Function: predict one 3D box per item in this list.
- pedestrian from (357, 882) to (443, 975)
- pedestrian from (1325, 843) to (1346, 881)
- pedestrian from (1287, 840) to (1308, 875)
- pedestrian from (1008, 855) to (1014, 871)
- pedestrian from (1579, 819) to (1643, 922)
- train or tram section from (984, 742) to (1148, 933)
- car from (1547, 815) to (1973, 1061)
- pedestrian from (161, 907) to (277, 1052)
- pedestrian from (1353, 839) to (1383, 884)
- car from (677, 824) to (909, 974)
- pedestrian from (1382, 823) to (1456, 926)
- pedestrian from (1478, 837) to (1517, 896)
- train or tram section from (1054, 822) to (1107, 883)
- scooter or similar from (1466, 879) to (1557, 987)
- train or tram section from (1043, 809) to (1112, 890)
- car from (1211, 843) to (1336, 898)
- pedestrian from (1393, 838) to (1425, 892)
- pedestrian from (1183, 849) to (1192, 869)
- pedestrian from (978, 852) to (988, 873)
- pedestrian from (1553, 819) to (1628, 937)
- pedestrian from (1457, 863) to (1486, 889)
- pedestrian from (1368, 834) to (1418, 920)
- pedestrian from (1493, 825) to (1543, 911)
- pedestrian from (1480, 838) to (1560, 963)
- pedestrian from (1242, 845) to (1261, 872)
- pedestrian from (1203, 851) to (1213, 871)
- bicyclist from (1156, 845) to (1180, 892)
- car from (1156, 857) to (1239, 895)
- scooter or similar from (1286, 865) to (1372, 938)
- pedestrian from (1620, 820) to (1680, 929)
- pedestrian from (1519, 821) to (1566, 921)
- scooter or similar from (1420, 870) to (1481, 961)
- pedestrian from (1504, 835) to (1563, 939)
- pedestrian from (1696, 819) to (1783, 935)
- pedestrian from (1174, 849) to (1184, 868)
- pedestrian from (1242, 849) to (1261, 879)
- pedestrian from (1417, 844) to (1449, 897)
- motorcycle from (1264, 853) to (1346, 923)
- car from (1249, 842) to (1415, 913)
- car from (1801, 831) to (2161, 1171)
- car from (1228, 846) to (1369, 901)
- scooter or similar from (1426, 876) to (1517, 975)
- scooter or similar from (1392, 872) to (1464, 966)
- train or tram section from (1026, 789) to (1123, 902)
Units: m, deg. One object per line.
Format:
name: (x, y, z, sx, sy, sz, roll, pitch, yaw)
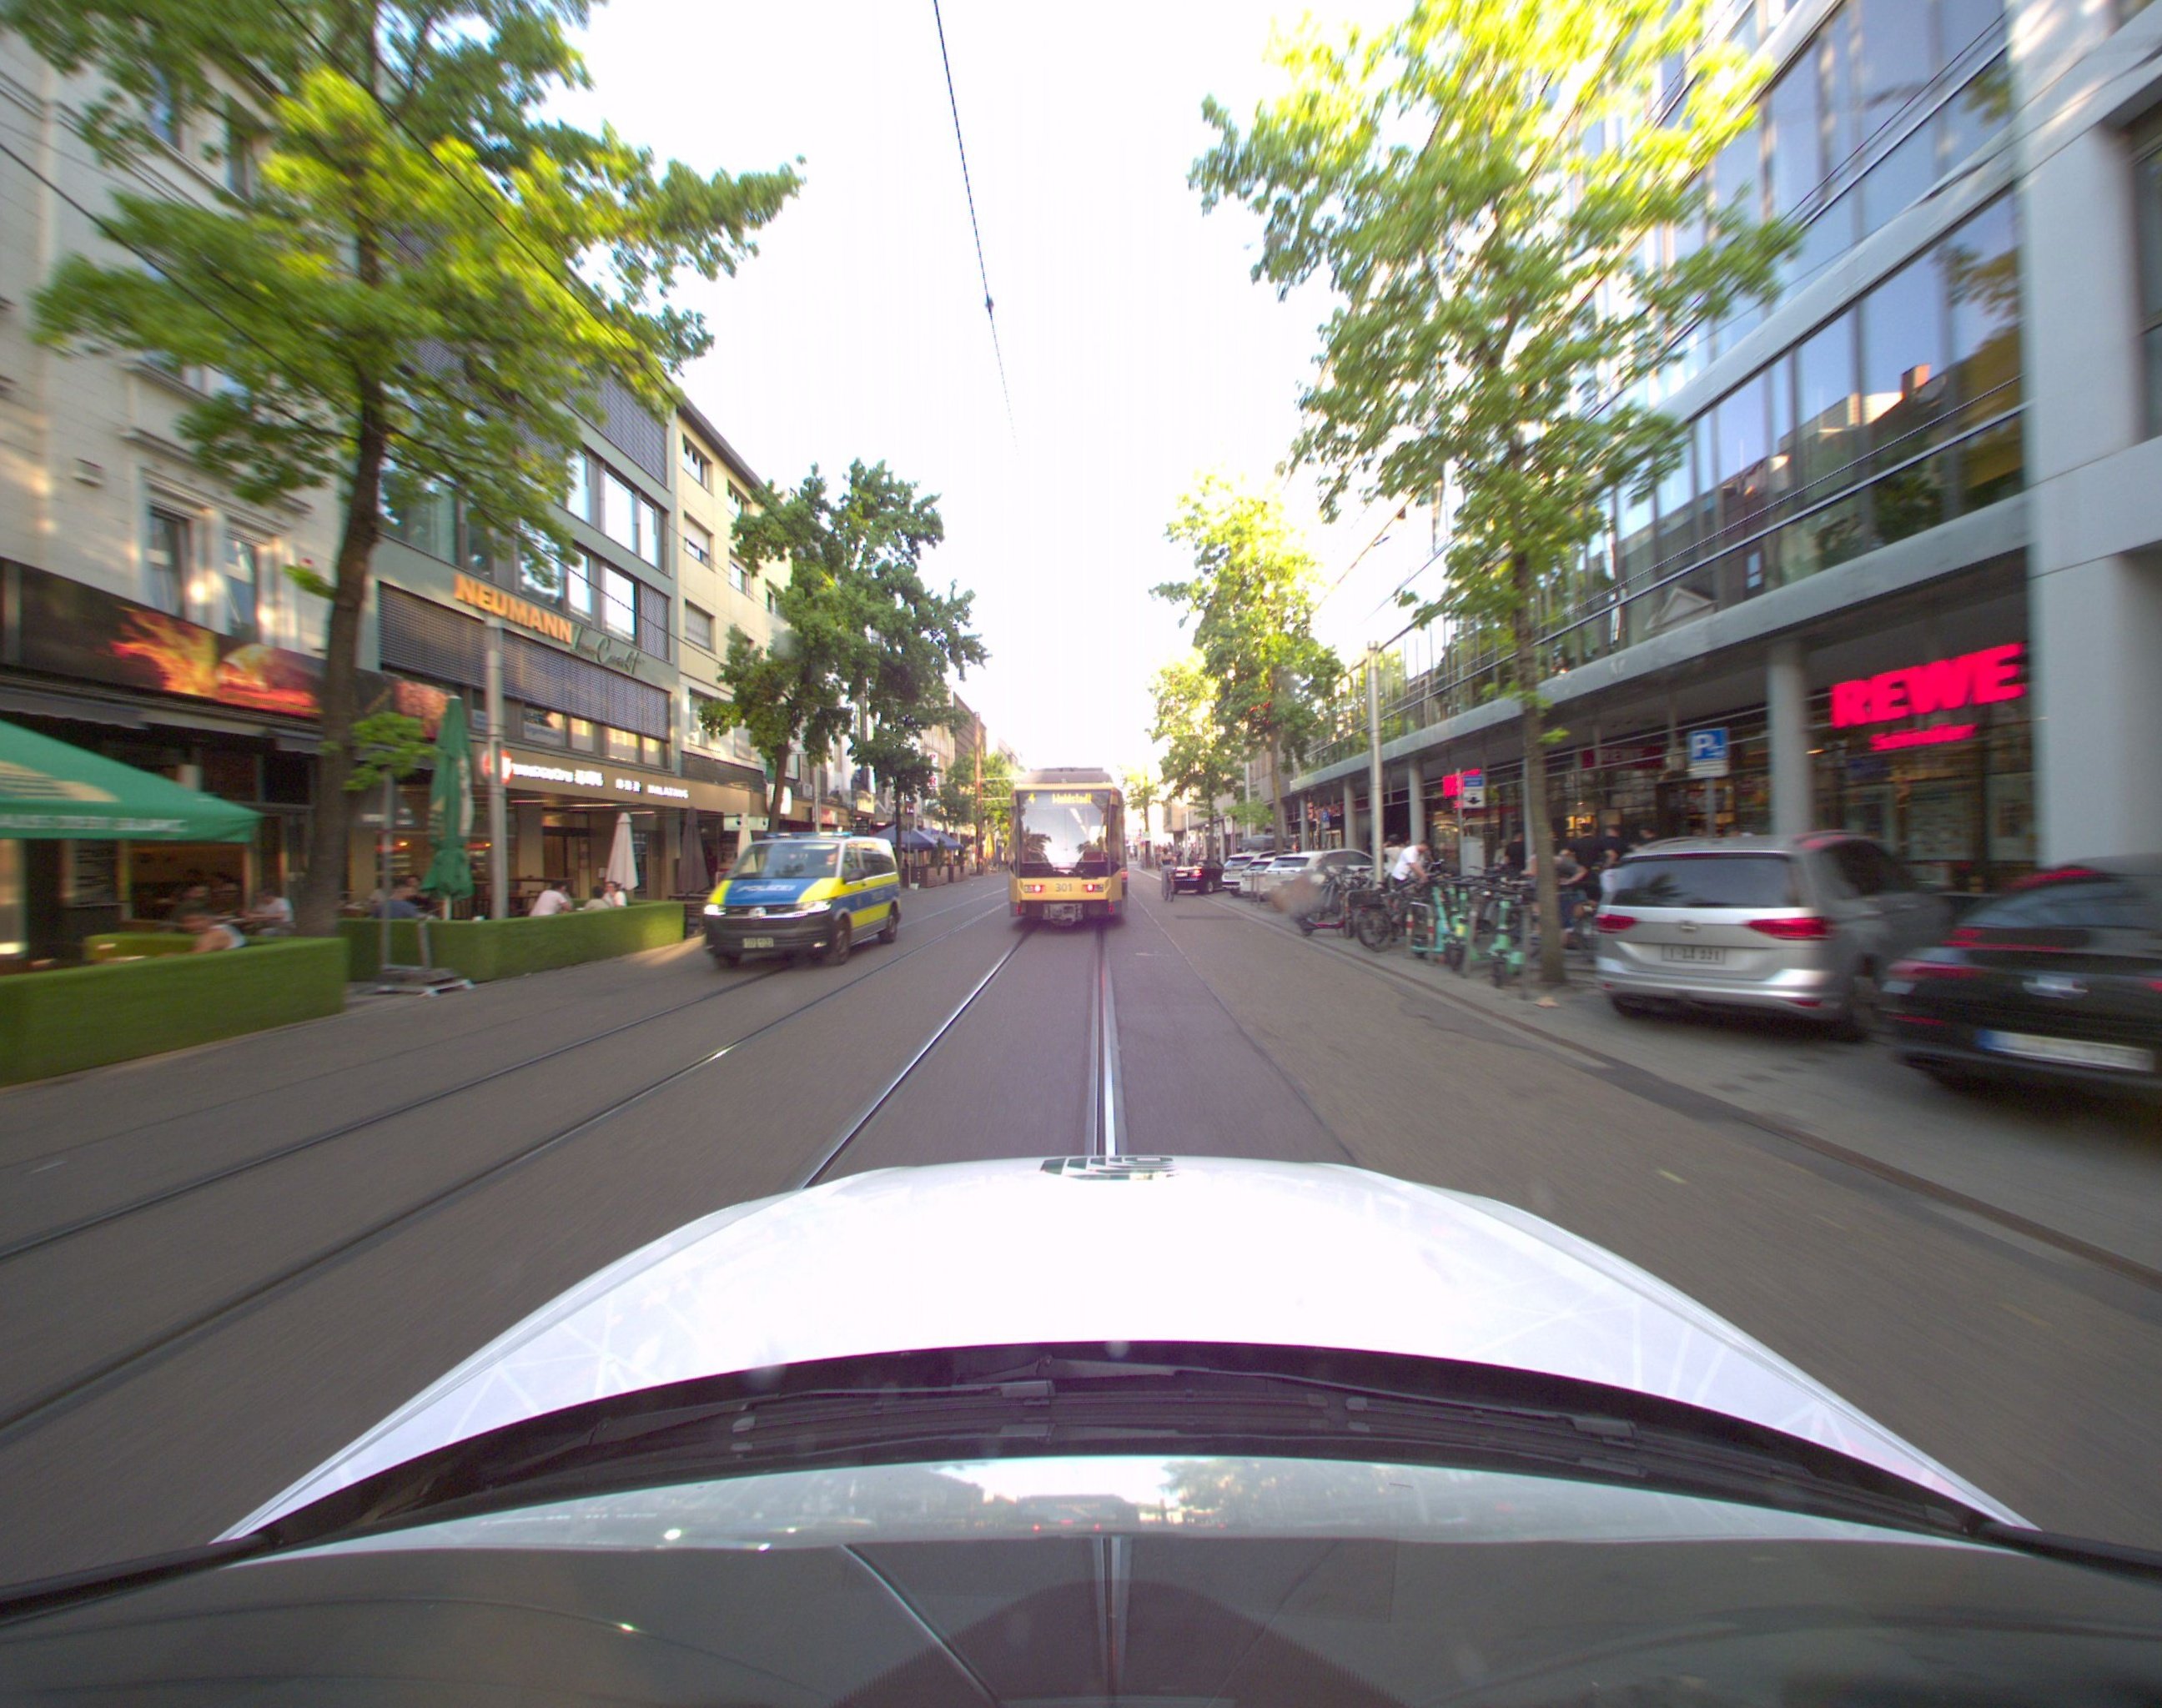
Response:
pedestrian: (-9.658, 1.043, 11.565, 0.706, 1.265, 0.600, -1, -1, 1)
pedestrian: (11.023, 0.329, 35.256, 0.594, 1.616, 0.755, -3, 1, 0)
pedestrian: (11.680, 0.197, 43.881, 0.830, 1.836, 0.944, -2, 1, 1)
pedestrian: (-7.420, 0.968, 86.380, 0.573, 1.687, 0.551, 1, -1, -9)
pedestrian: (9.765, 0.295, 15.019, 0.654, 1.812, 0.718, -3, 0, 5)
train or tram section: (-0.251, -0.262, 20.489, 3.006, 3.524, 10.369, -1, -1, 0)
car: (6.724, 0.565, 7.894, 4.695, 1.640, 1.934, -3, 0, -35)
pedestrian: (-8.666, 1.238, 8.210, 0.545, 1.378, 0.565, -1, -1, 1)
pedestrian: (11.674, 0.301, 33.148, 0.874, 1.782, 0.755, -3, 1, 0)
car: (-4.389, 0.608, 13.381, 1.986, 1.976, 4.850, -1, 0, 1)
pedestrian: (6.650, 0.384, 16.058, 0.949, 1.913, 0.859, -4, 1, -11)
pedestrian: (11.119, 0.330, 21.760, 0.677, 1.548, 0.664, -1, -1, 0)
train or tram section: (-0.012, -0.063, 52.203, 3.034, 3.524, 10.530, 0, 0, 0)
scooter or similar: (5.299, 0.920, 9.992, 0.573, 1.150, 1.409, -2, 0, 44)
train or tram section: (-0.096, -0.159, 41.504, 2.993, 3.523, 10.844, -1, 0, 0)
car: (7.008, 0.576, 29.588, 4.222, 1.637, 1.902, -4, 0, -31)
pedestrian: (10.522, 0.366, 26.148, 0.677, 1.699, 0.805, -1, -1, 0)
pedestrian: (9.734, 0.445, 74.720, 0.746, 1.782, 0.892, -1, -1, 4)
pedestrian: (-9.705, 0.842, 80.945, 0.846, 2.014, 0.921, -1, -1, 1)
pedestrian: (8.213, 0.370, 13.127, 0.876, 1.812, 0.943, -3, 0, 36)
pedestrian: (12.388, 0.698, 25.841, 0.604, 0.782, 0.665, -2, -1, 3)
pedestrian: (6.848, 0.493, 17.884, 0.823, 1.812, 0.593, -5, 2, -38)
pedestrian: (9.543, 0.299, 17.775, 0.782, 1.812, 0.664, -3, 0, 36)
pedestrian: (5.980, 0.617, 11.134, 0.783, 1.625, 0.773, -3, 0, 20)
pedestrian: (12.090, 0.316, 57.757, 1.049, 1.876, 0.929, -3, 1, 1)
pedestrian: (10.624, 0.580, 67.981, 0.698, 1.637, 0.646, -3, 1, 1)
bicyclist: (2.917, 0.486, 27.356, 0.724, 1.527, 0.733, 0, -1, 1)
car: (4.803, 0.855, 33.115, 1.784, 1.348, 4.474, -2, 0, 29)
scooter or similar: (4.742, 0.886, 15.632, 0.700, 1.304, 1.377, -2, 0, -37)
pedestrian: (9.437, 0.329, 13.523, 0.722, 1.754, 0.721, -3, 0, 34)
pedestrian: (8.599, 0.307, 15.173, 0.651, 1.812, 0.721, -3, 0, 31)
scooter or similar: (5.395, 0.873, 11.944, 0.564, 1.205, 1.287, -3, 0, 15)
pedestrian: (7.378, 0.525, 13.279, 0.697, 1.624, 0.664, -3, 0, 36)
pedestrian: (9.309, 0.324, 11.542, 0.754, 1.572, 0.635, -2, -1, 23)
pedestrian: (9.390, 0.452, 77.928, 0.885, 1.782, 0.751, -1, -1, -1)
pedestrian: (9.086, 0.534, 43.370, 0.874, 1.581, 0.755, 0, 1, 0)
pedestrian: (11.453, 0.548, 26.534, 0.660, 1.699, 0.805, -1, -1, 0)
motorcycle: (5.312, 0.768, 19.212, 2.218, 1.471, 0.786, -3, 1, -43)
car: (6.904, 0.597, 22.264, 4.360, 1.563, 1.858, -4, 0, -32)
car: (6.882, 0.640, 4.934, 4.352, 1.422, 1.941, -4, -1, -21)
car: (7.174, 0.625, 26.915, 4.189, 1.457, 1.850, -4, 0, -23)
scooter or similar: (5.197, 0.916, 10.822, 1.338, 1.182, 0.493, -2, 0, -37)
scooter or similar: (4.945, 0.896, 11.660, 0.480, 1.222, 1.215, -3, -1, 2)
train or tram section: (-0.172, -0.247, 30.878, 2.997, 3.523, 10.401, -1, 0, 0)
